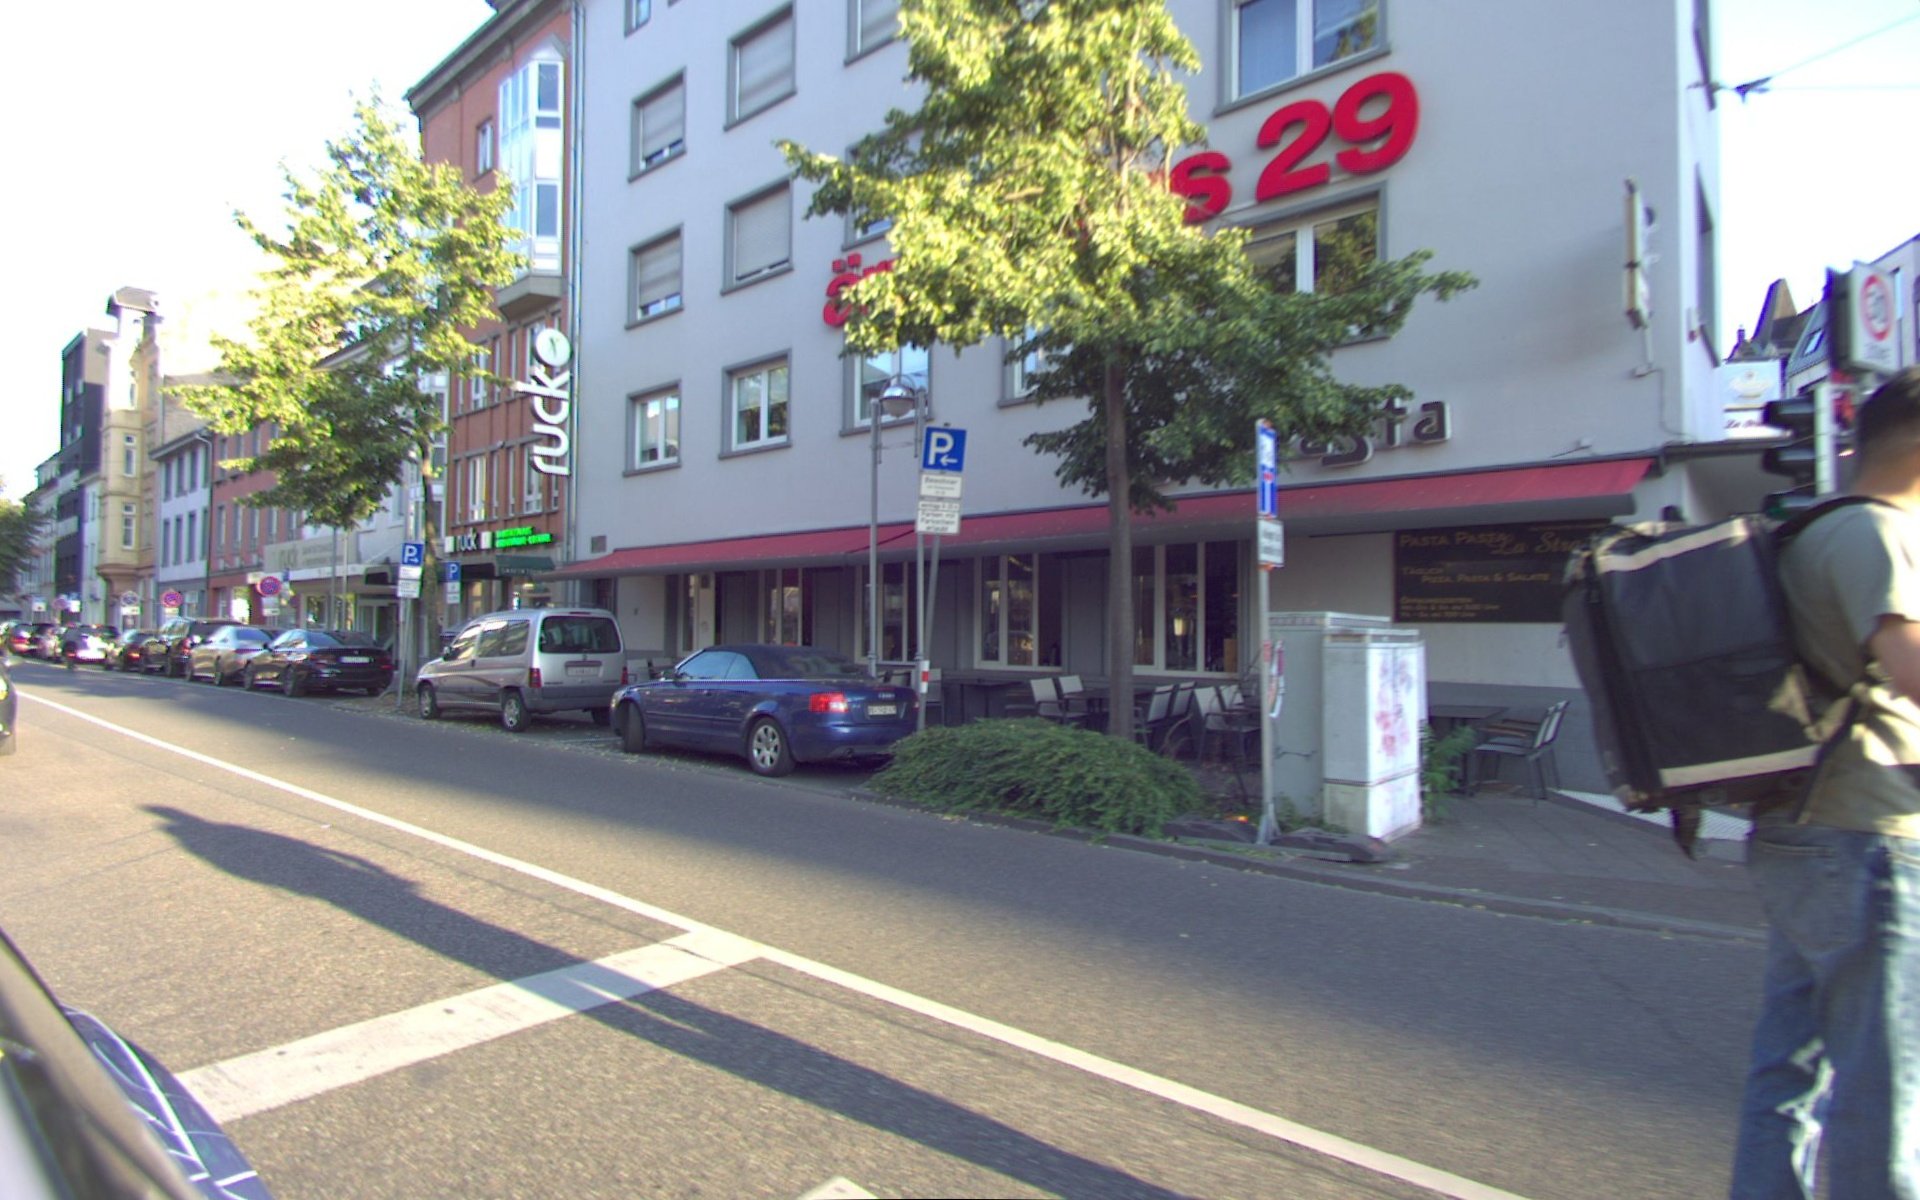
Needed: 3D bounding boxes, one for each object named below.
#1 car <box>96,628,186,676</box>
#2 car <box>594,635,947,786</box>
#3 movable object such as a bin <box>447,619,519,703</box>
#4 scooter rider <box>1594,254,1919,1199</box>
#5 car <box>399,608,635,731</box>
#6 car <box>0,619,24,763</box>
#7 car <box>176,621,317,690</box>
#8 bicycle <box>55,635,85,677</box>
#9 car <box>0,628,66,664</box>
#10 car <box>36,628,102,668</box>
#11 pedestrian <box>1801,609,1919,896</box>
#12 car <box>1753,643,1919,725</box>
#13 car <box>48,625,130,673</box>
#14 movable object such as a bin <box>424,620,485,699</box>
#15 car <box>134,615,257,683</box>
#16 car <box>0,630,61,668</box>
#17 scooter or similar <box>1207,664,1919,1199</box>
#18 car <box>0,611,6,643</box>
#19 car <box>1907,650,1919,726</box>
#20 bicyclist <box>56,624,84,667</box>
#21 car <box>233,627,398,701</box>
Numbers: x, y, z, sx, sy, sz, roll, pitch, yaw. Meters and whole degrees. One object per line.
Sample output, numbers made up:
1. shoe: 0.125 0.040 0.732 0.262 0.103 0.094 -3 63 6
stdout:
1. car: -27.905 1.734 34.437 3.840 1.536 1.714 -2 -3 41
2. car: -2.314 1.130 11.682 4.308 1.363 1.632 0 -2 40
3. movable object such as a bin: -9.326 1.157 19.787 1.484 1.555 0.743 -1 0 41
4. scooter rider: 1.541 0.448 1.663 0.785 1.821 0.806 -1 0 29
5. car: -6.989 0.972 15.832 3.994 1.676 1.698 0 0 38
6. car: -11.692 0.948 11.035 3.837 1.464 1.568 -1 -2 38
7. car: -18.311 1.386 25.890 4.943 1.612 1.870 -2 -4 42
8. bicycle: -28.088 1.744 31.926 1.692 1.246 0.415 -1 0 39
9. car: -41.709 2.039 45.490 3.776 1.524 1.768 -1 -1 41
10. car: -38.277 2.045 43.452 3.515 1.602 1.663 -1 -2 41
11. pedestrian: 5.770 0.895 6.157 0.792 1.668 0.584 0 -2 14
12. car: 19.670 1.790 22.518 1.985 1.490 3.974 0 0 20
13. car: -34.476 1.893 40.026 4.138 1.741 1.852 -1 -2 41
14. movable object such as a bin: -10.333 1.195 20.684 1.100 1.547 0.738 -2 -1 41
15. car: -23.163 1.463 30.587 4.944 1.898 1.947 -2 -3 41
16. car: -44.824 2.316 48.693 4.035 1.689 1.857 0 0 41
17. scooter or similar: 1.338 0.815 1.793 1.662 1.361 0.541 -1 -2 29
18. car: -51.080 1.379 52.608 3.971 1.627 1.772 0 0 41
19. car: 17.707 1.502 16.494 1.902 1.369 3.721 -2 -3 20
20. bicyclist: -28.080 1.421 31.926 0.660 1.312 0.562 -1 0 39
21. car: -14.117 1.317 22.070 4.414 1.403 1.781 0 -2 40
